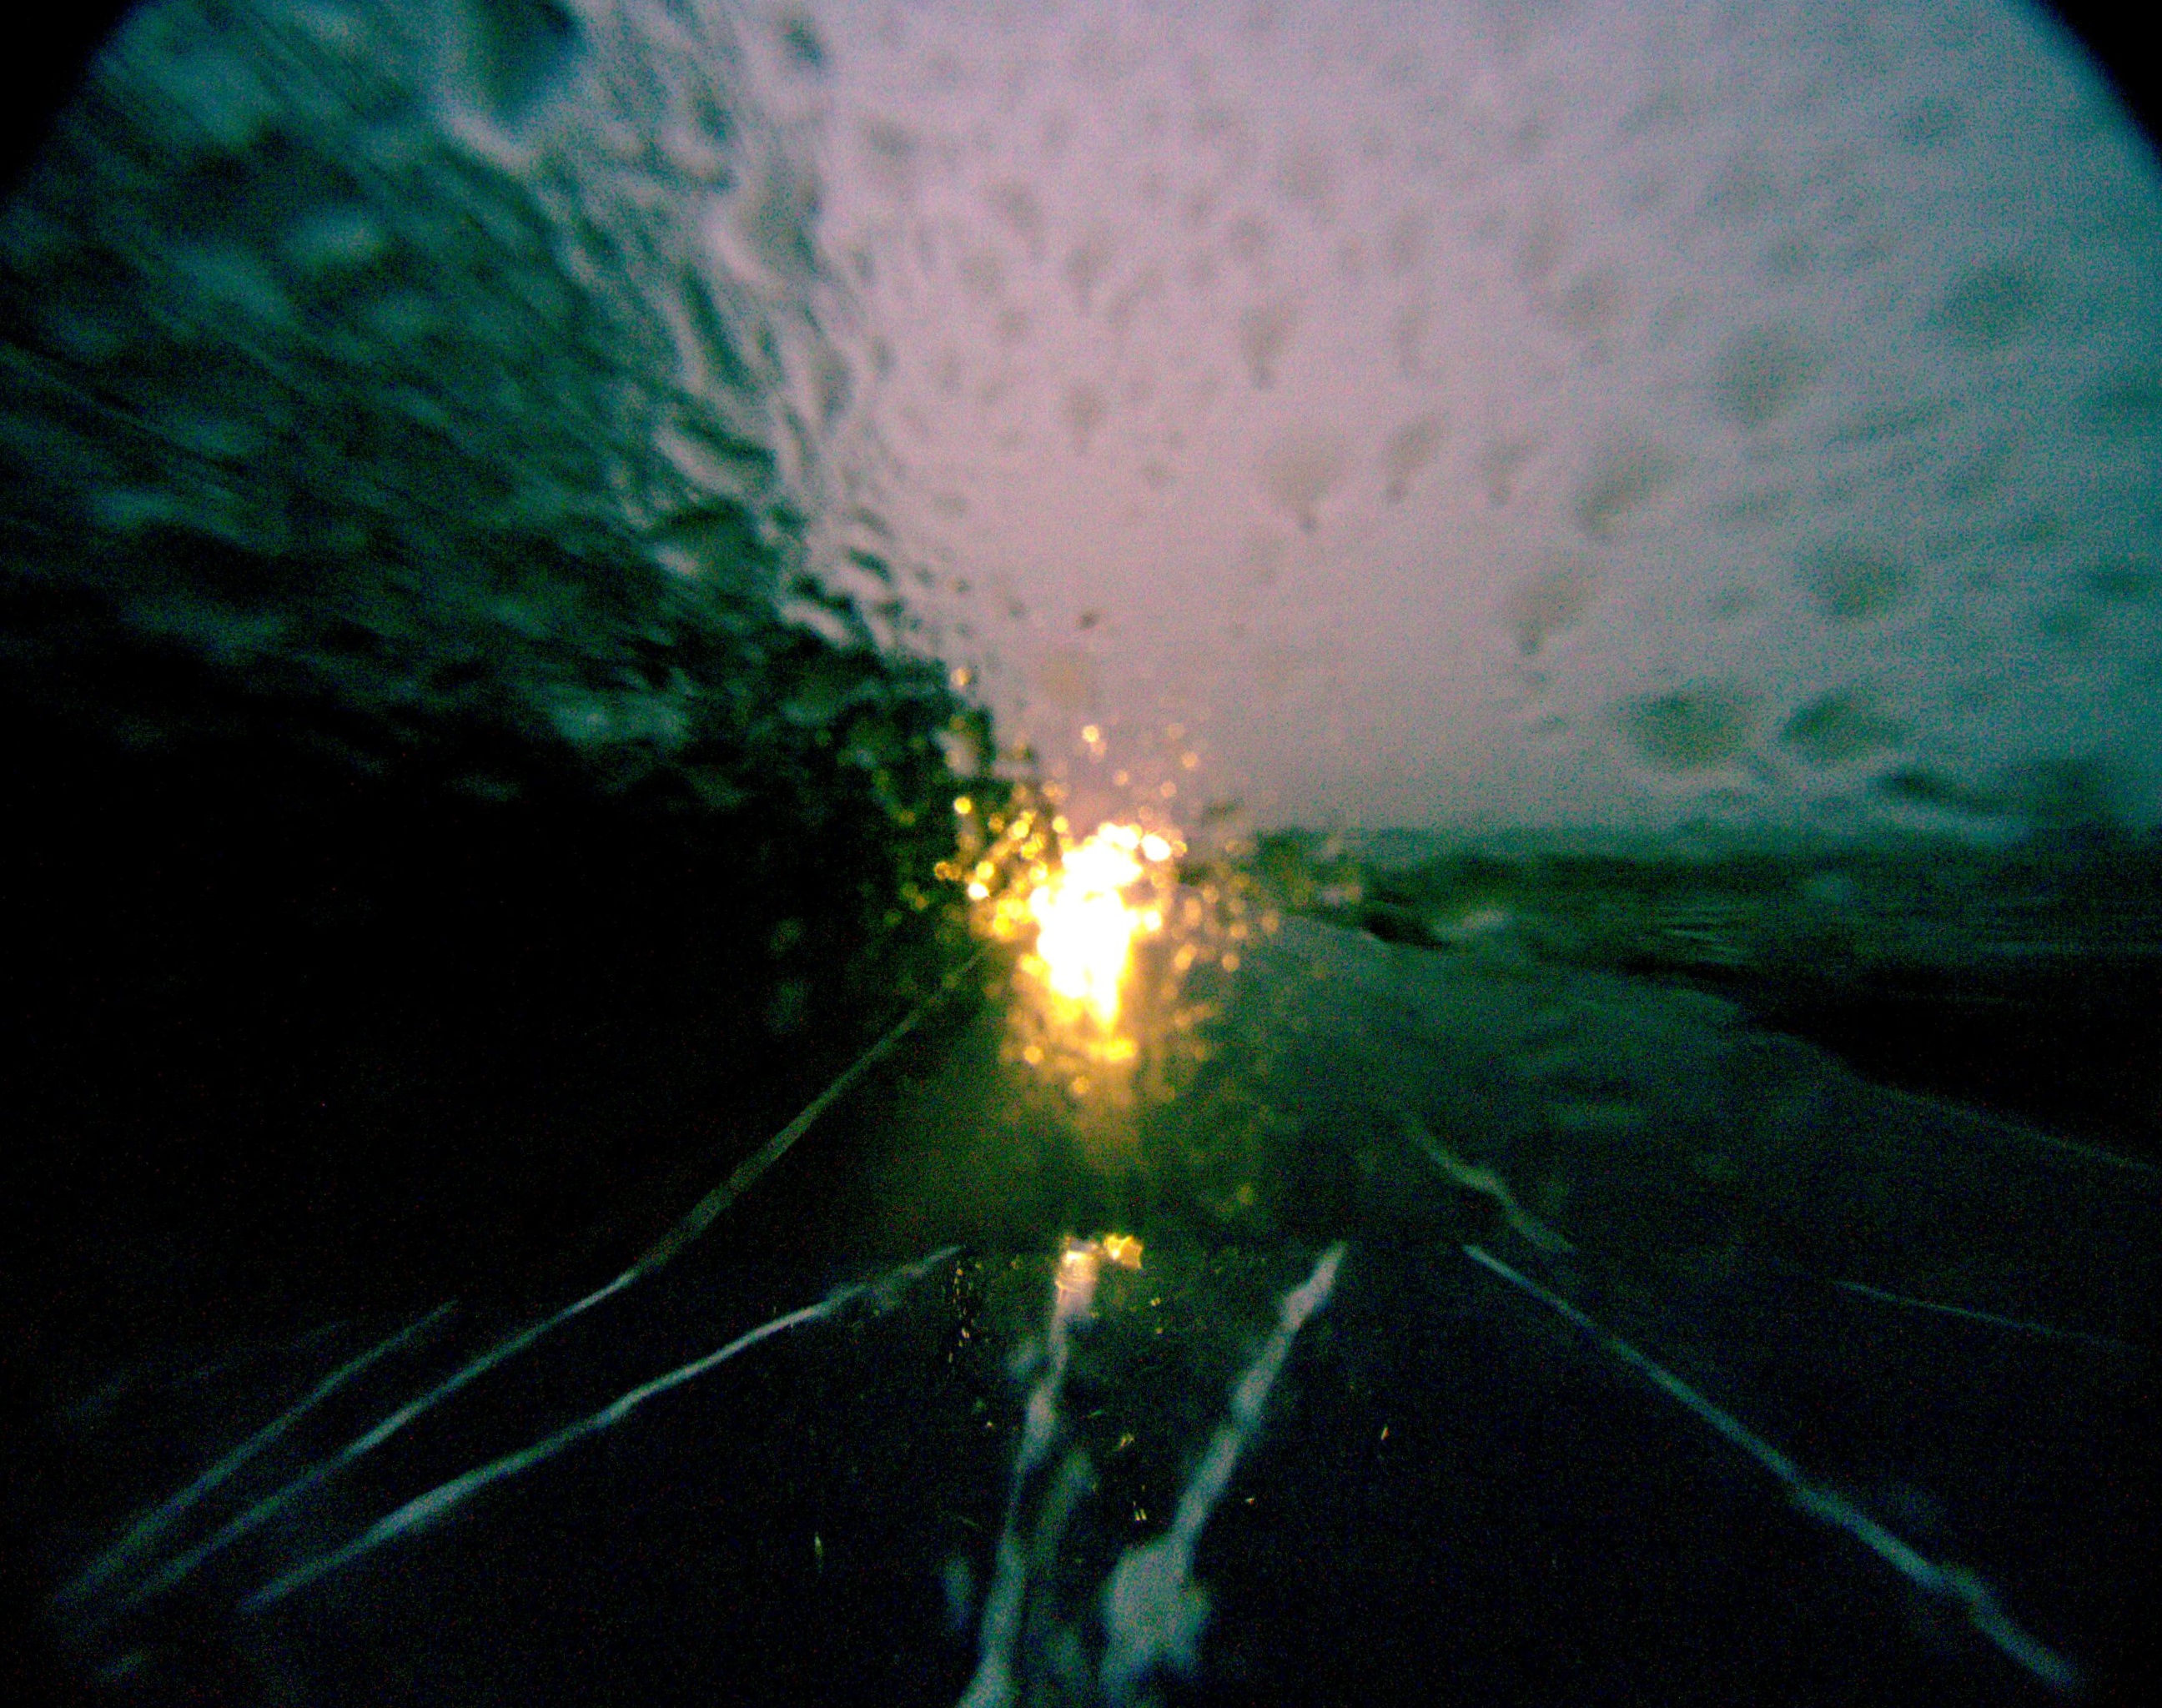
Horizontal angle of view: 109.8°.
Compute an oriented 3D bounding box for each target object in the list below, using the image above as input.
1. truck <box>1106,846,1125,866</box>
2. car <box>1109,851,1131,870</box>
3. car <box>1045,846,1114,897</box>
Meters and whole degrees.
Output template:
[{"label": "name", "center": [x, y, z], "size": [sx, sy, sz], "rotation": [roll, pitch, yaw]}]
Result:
[{"label": "truck", "center": [4.710, 0.258, 104.749], "size": [2.275, 2.619, 7.034], "rotation": [1, 0, 0]}, {"label": "car", "center": [3.860, 0.679, 76.400], "size": [1.998, 1.812, 4.001], "rotation": [1, -1, 0]}, {"label": "car", "center": [0.017, 0.688, 33.772], "size": [2.704, 1.974, 5.804], "rotation": [-3, 0, 2]}]
